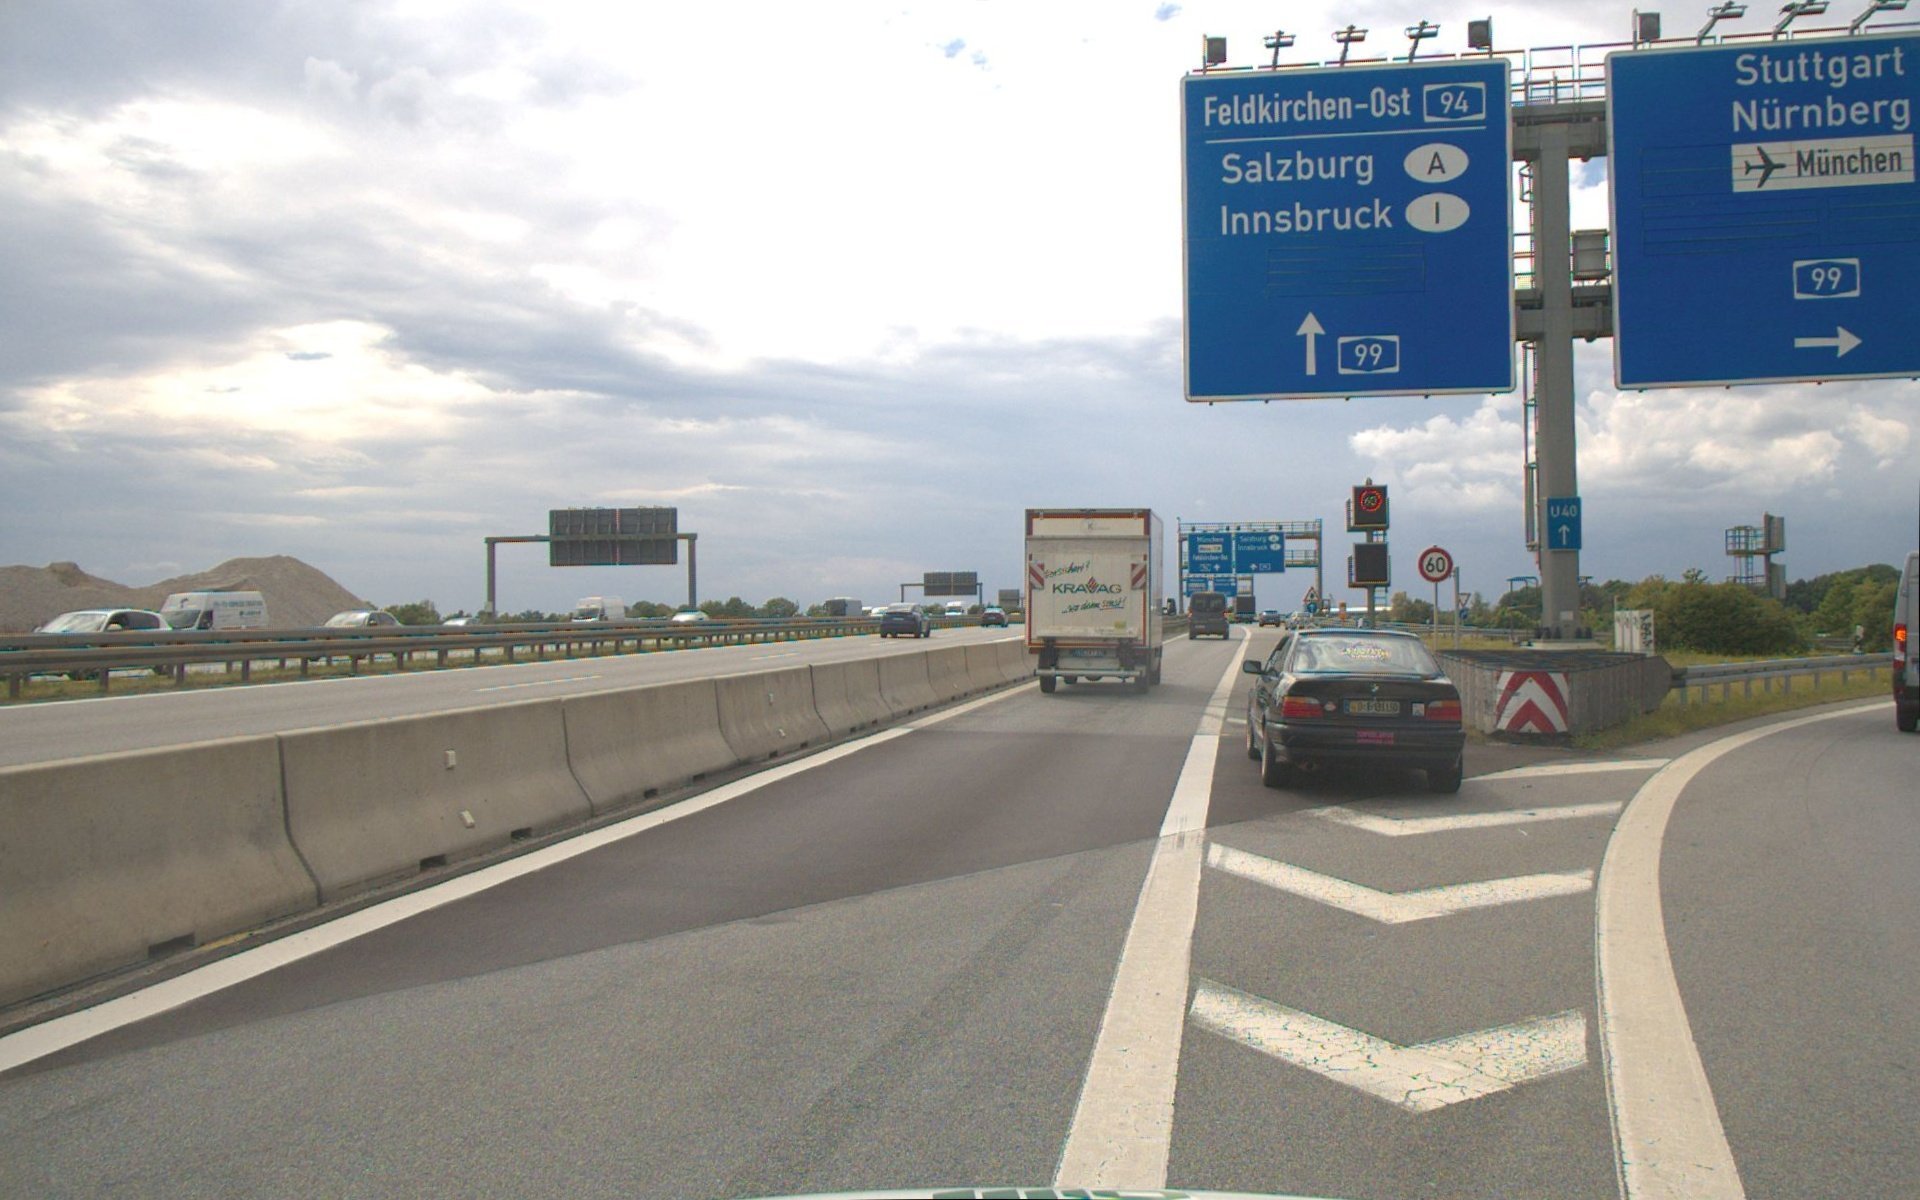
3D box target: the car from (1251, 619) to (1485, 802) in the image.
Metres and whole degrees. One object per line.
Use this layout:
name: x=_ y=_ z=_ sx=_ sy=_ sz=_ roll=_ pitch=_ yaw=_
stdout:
car: x=3.564 y=0.887 z=15.072 sx=1.744 sy=1.402 sz=4.140 roll=0 pitch=0 yaw=9

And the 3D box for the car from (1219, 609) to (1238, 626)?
car: x=23.479 y=1.507 z=144.644 sx=1.551 sy=1.510 sz=3.538 roll=0 pitch=0 yaw=9

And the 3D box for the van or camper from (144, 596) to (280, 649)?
van or camper: x=-30.220 y=0.869 z=67.116 sx=2.188 sy=2.049 sz=6.282 roll=0 pitch=0 yaw=5

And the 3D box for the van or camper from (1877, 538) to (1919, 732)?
van or camper: x=15.251 y=0.481 z=24.376 sx=2.256 sy=2.613 sz=6.135 roll=0 pitch=-1 yaw=37

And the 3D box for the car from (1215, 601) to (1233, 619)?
car: x=30.610 y=1.173 z=191.956 sx=1.951 sy=2.049 sz=4.003 roll=0 pitch=0 yaw=7

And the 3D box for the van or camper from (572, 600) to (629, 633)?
van or camper: x=-24.926 y=1.136 z=114.855 sx=2.140 sy=2.210 sz=5.813 roll=0 pitch=0 yaw=6

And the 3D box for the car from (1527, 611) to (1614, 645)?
car: x=33.768 y=1.538 z=91.526 sx=1.975 sy=1.803 sz=4.198 roll=1 pitch=0 yaw=-33

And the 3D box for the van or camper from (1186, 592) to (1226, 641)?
van or camper: x=12.580 y=0.816 z=84.582 sx=1.957 sy=2.412 sz=6.131 roll=0 pitch=0 yaw=9

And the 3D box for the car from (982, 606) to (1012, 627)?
car: x=2.842 y=1.245 z=126.661 sx=1.951 sy=1.568 sz=4.003 roll=0 pitch=0 yaw=7

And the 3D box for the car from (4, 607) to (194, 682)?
car: x=-17.760 y=0.886 z=34.342 sx=1.854 sy=1.448 sz=3.999 roll=0 pitch=0 yaw=0

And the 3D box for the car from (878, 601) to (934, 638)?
car: x=-2.551 y=0.909 z=78.748 sx=1.951 sy=1.691 sz=4.387 roll=0 pitch=0 yaw=8

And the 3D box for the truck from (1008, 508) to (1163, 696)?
truck: x=2.489 y=0.036 z=30.929 sx=2.353 sy=3.144 sz=6.375 roll=1 pitch=0 yaw=9
